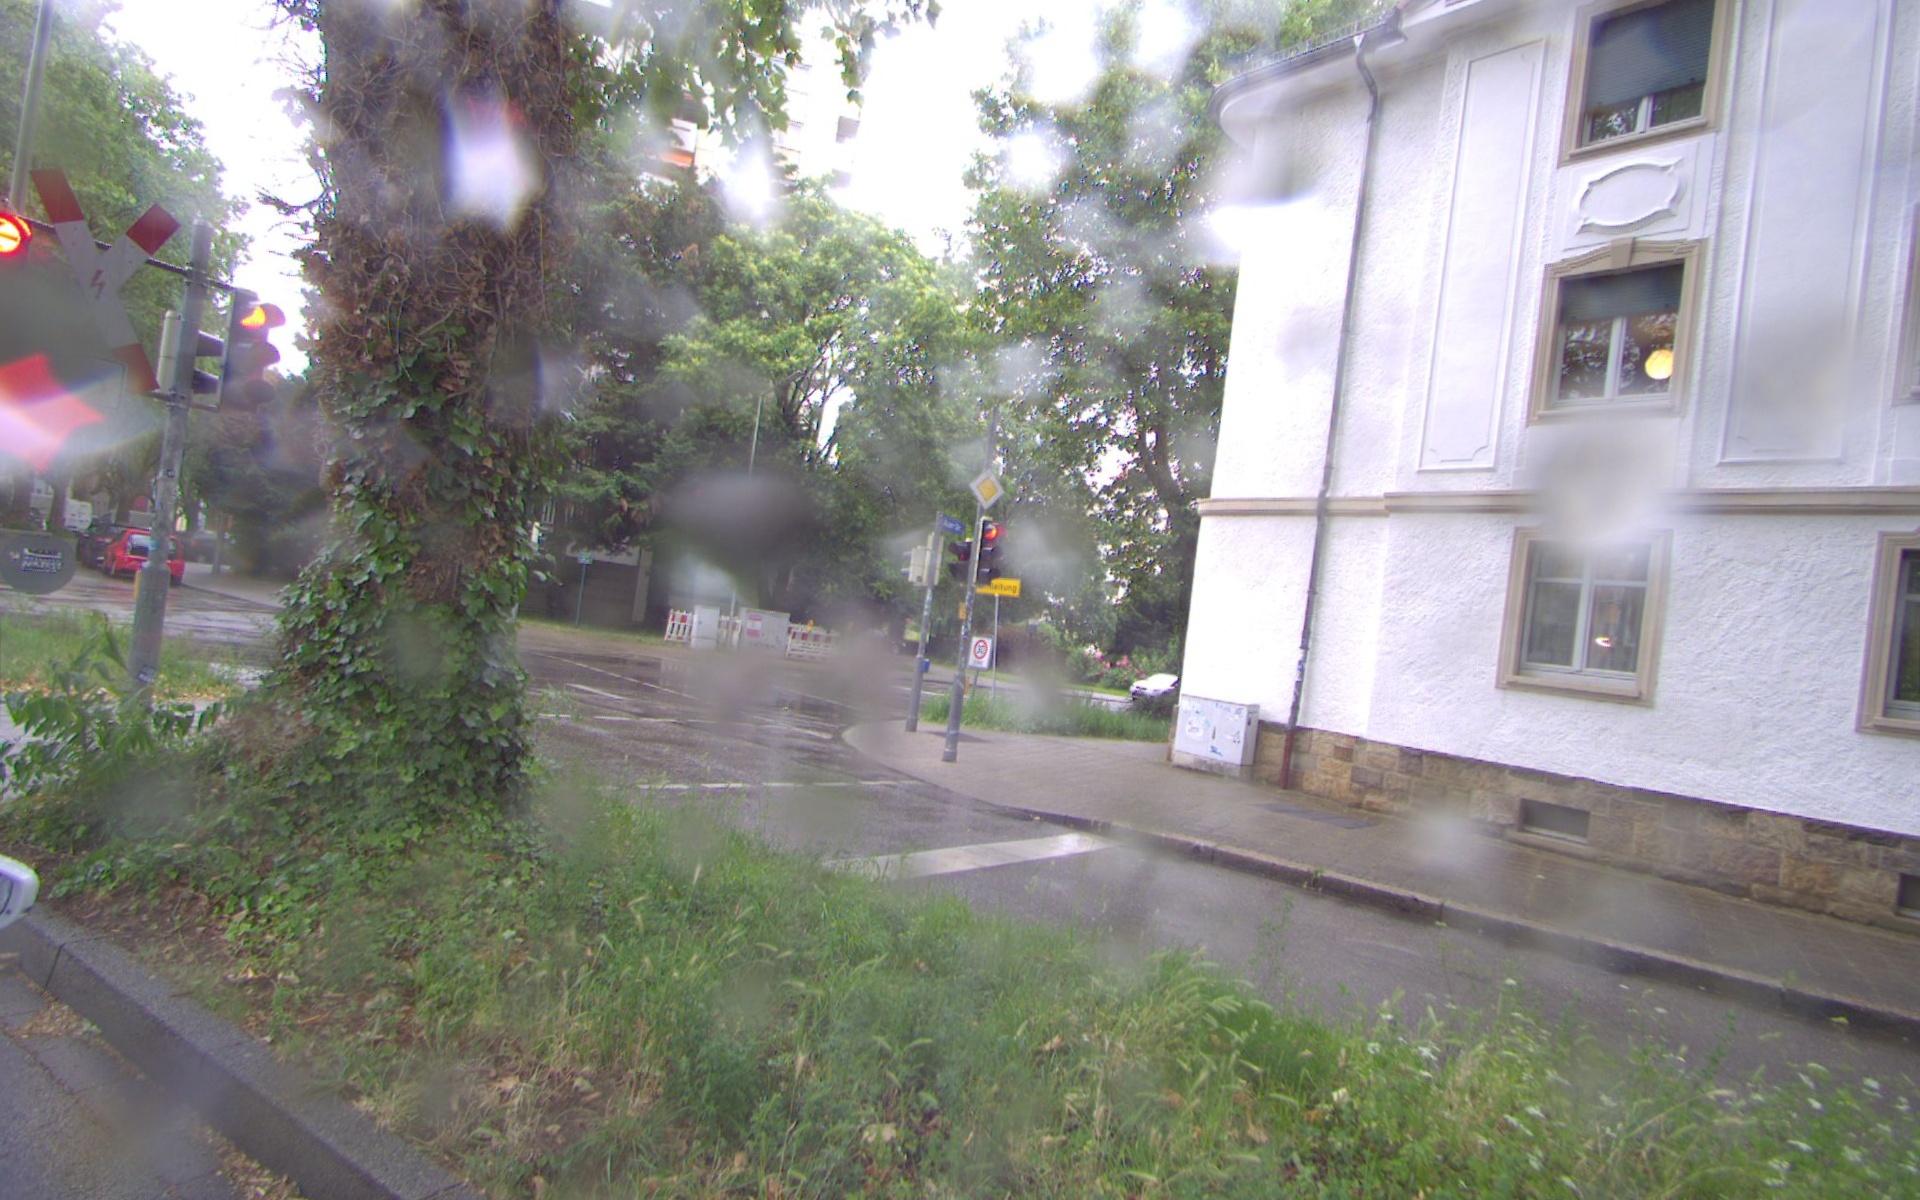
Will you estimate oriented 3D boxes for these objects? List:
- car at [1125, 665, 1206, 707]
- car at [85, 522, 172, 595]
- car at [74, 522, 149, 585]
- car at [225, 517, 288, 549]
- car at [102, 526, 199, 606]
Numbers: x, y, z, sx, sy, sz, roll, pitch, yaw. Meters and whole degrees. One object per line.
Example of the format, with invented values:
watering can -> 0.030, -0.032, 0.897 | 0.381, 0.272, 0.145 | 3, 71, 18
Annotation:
car -> 9.338, 3.917, 45.665 | 3.630, 1.504, 1.704 | 8, 0, -43
car -> -27.967, -1.436, 33.794 | 1.986, 2.038, 3.953 | 7, 0, -42
car -> -32.861, -1.822, 38.911 | 1.986, 2.038, 3.953 | 7, 0, -42
car -> -57.162, -5.439, 81.808 | 3.969, 2.038, 1.689 | 7, 0, -39
car -> -24.786, -1.067, 30.752 | 1.986, 2.038, 3.953 | 7, 0, -42
